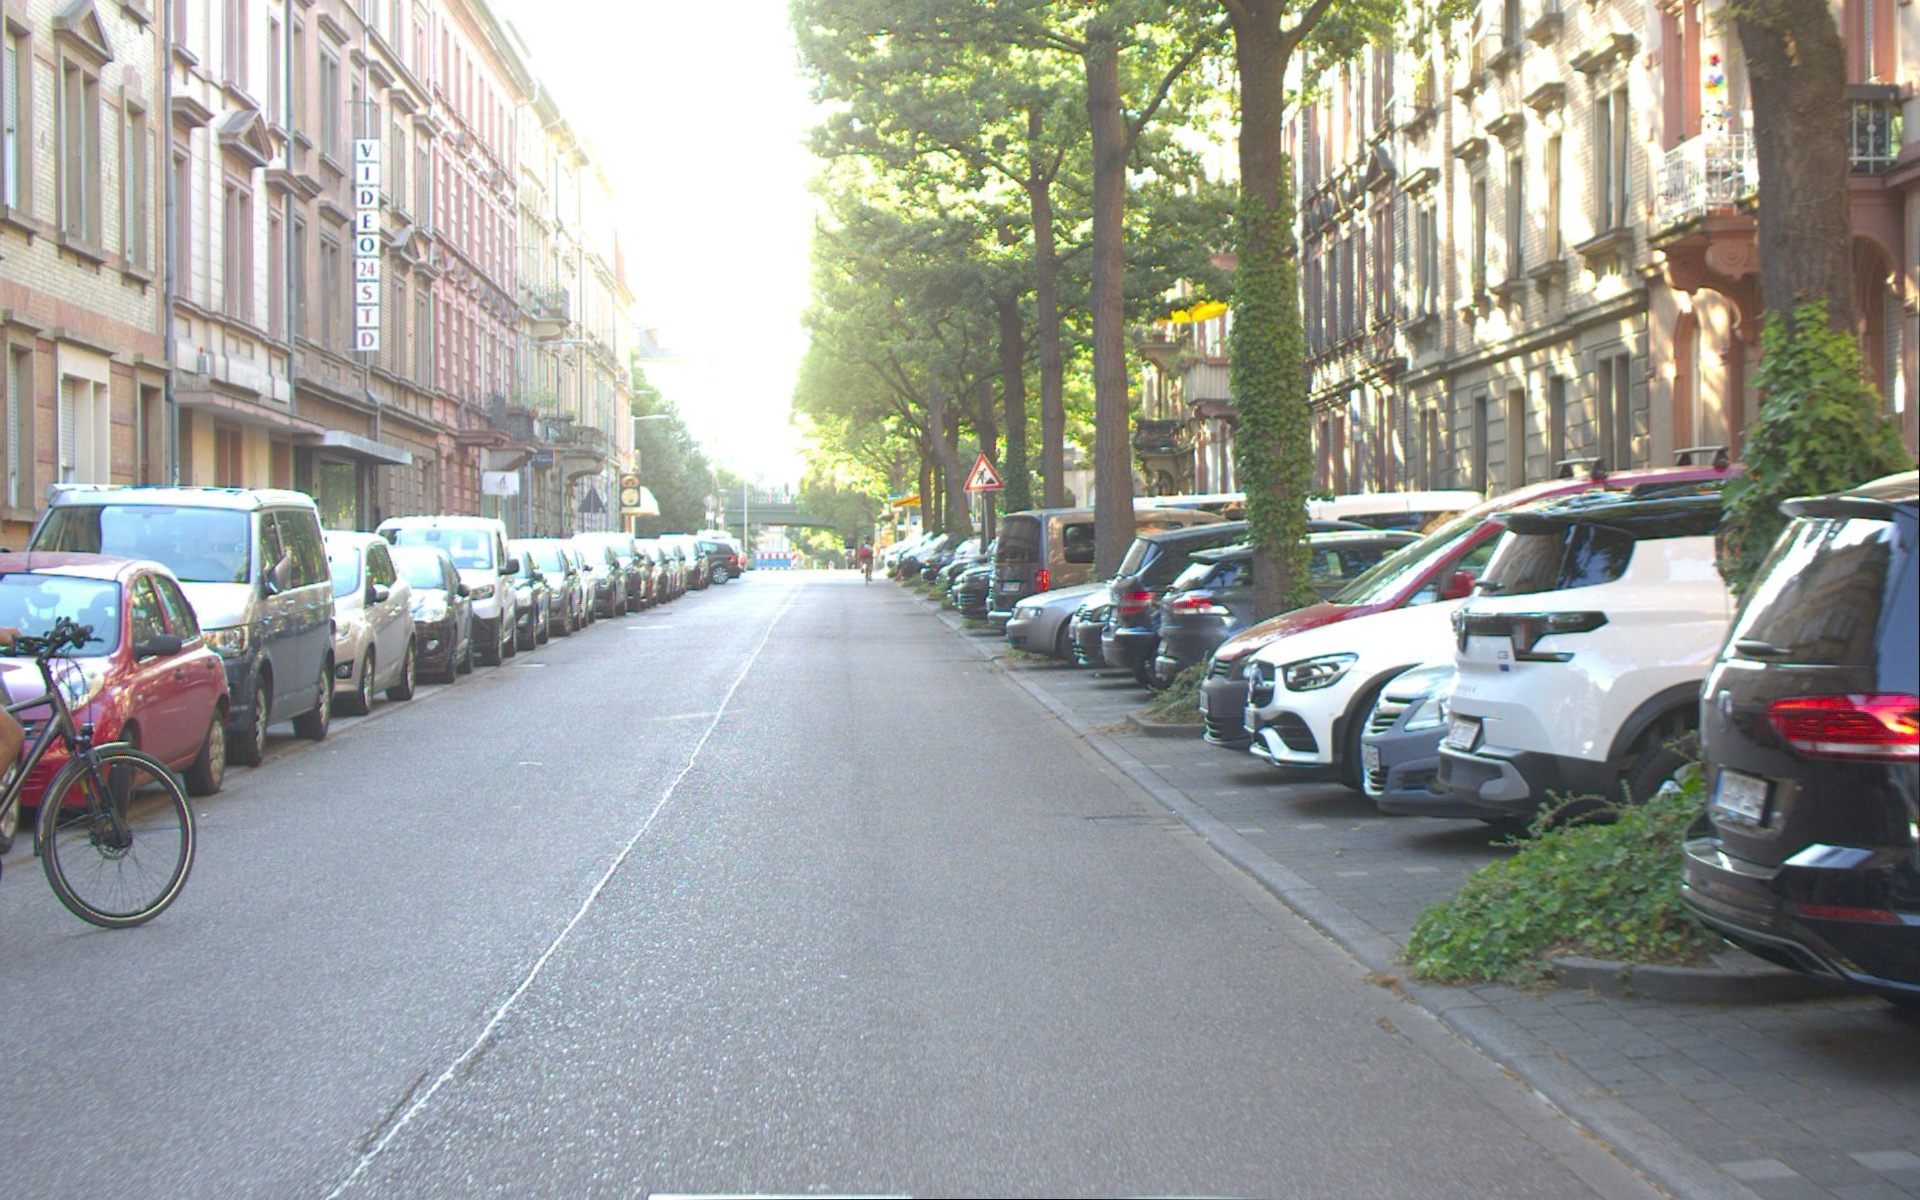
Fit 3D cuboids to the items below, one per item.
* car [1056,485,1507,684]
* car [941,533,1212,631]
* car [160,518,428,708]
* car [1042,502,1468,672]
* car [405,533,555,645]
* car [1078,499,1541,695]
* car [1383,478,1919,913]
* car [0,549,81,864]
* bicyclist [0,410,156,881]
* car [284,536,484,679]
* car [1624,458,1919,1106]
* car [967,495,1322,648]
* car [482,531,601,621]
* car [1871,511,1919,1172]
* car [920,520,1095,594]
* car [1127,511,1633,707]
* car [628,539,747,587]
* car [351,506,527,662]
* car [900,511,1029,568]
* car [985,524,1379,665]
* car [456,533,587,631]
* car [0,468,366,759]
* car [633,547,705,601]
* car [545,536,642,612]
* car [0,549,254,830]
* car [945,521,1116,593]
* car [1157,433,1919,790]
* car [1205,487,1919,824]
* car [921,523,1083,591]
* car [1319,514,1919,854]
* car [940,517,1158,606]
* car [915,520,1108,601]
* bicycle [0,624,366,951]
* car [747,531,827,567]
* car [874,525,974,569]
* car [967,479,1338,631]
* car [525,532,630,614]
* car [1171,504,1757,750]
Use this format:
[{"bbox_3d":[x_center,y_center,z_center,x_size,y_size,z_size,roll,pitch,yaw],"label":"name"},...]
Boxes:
[{"bbox_3d":[3.182,-0.172,34.585,4.220,1.770,1.835,-3,1,-3],"label":"car"},{"bbox_3d":[1.734,-0.281,51.867,3.849,1.289,1.718,-3,1,-5],"label":"car"},{"bbox_3d":[-6.094,0.071,31.903,1.753,1.603,4.384,1,1,-2],"label":"car"},{"bbox_3d":[3.161,-0.161,37.291,4.220,1.605,1.835,-3,1,-9],"label":"car"},{"bbox_3d":[-6.705,-0.191,48.340,1.758,1.468,4.060,-1,1,-3],"label":"car"},{"bbox_3d":[3.194,-0.037,31.936,4.010,1.601,1.734,-2,1,-2],"label":"car"},{"bbox_3d":[3.954,0.315,14.408,4.010,1.622,1.805,-2,1,-3],"label":"car"},{"bbox_3d":[-5.482,0.543,15.849,1.758,1.496,4.060,-1,1,0],"label":"car"},{"bbox_3d":[-3.955,0.168,13.394,0.998,1.783,1.204,0,2,43],"label":"bicyclist"},{"bbox_3d":[-6.362,0.039,38.328,1.758,1.462,4.001,1,1,-3],"label":"car"},{"bbox_3d":[4.136,0.373,9.561,4.186,1.622,1.837,-2,1,1],"label":"car"},{"bbox_3d":[2.427,-0.390,45.285,4.220,1.788,1.835,-3,1,-21],"label":"car"},{"bbox_3d":[-7.181,-0.445,59.300,1.758,1.468,4.060,-1,1,-3],"label":"car"},{"bbox_3d":[4.500,0.465,7.114,4.675,1.509,1.879,-2,1,0],"label":"car"},{"bbox_3d":[1.110,-1.035,81.483,3.849,1.568,1.718,-3,1,-10],"label":"car"},{"bbox_3d":[3.527,0.065,29.361,4.010,1.462,1.734,-2,1,-2],"label":"car"},{"bbox_3d":[-8.972,-1.210,113.423,1.997,1.481,3.993,-1,-1,30],"label":"car"},{"bbox_3d":[-6.506,-0.238,43.289,1.758,1.835,4.530,-1,1,-3],"label":"car"},{"bbox_3d":[0.115,-1.871,106.252,3.850,1.568,1.718,-3,1,-3],"label":"car"},{"bbox_3d":[2.518,-0.081,39.650,4.220,1.398,1.835,-3,1,-6],"label":"car"},{"bbox_3d":[-6.904,-0.313,54.438,1.758,1.468,4.060,-1,1,-3],"label":"car"},{"bbox_3d":[-5.784,0.043,25.981,1.832,1.936,5.261,1,1,-2],"label":"car"},{"bbox_3d":[-8.694,-0.764,102.944,1.993,1.481,4.000,-1,-1,-3],"label":"car"},{"bbox_3d":[-7.473,-0.556,70.315,1.758,1.468,4.060,-1,1,-3],"label":"car"},{"bbox_3d":[-5.370,0.452,20.363,1.592,1.470,3.699,1,1,0],"label":"car"},{"bbox_3d":[1.703,-1.053,83.907,3.849,1.568,1.718,-3,1,-10],"label":"car"},{"bbox_3d":[3.631,0.031,21.863,4.443,1.917,1.850,-3,2,-4],"label":"car"},{"bbox_3d":[3.678,0.259,19.228,4.343,1.551,1.850,-3,2,-2],"label":"car"},{"bbox_3d":[1.064,-1.123,88.536,3.849,1.568,1.718,-3,1,-10],"label":"car"},{"bbox_3d":[3.923,0.341,16.862,4.010,1.429,1.795,-3,1,-2],"label":"car"},{"bbox_3d":[1.643,-0.726,64.198,3.849,1.474,1.718,-3,1,-5],"label":"car"},{"bbox_3d":[1.102,-0.863,74.145,3.849,1.568,1.718,-3,1,-10],"label":"car"},{"bbox_3d":[-3.835,0.740,13.505,0.998,1.154,2.916,0,2,43],"label":"bicycle"},{"bbox_3d":[-9.177,-2.702,182.156,3.988,1.853,1.751,1,1,6],"label":"car"},{"bbox_3d":[-1.431,-2.117,136.531,3.850,1.568,1.718,-3,1,-3],"label":"car"},{"bbox_3d":[2.700,-0.648,49.028,5.056,1.919,1.835,-2,1,-2],"label":"car"},{"bbox_3d":[-7.262,-0.536,65.553,1.758,1.468,4.060,-1,1,-3],"label":"car"},{"bbox_3d":[3.508,0.150,24.296,3.657,1.450,1.851,-3,2,-8],"label":"car"}]
